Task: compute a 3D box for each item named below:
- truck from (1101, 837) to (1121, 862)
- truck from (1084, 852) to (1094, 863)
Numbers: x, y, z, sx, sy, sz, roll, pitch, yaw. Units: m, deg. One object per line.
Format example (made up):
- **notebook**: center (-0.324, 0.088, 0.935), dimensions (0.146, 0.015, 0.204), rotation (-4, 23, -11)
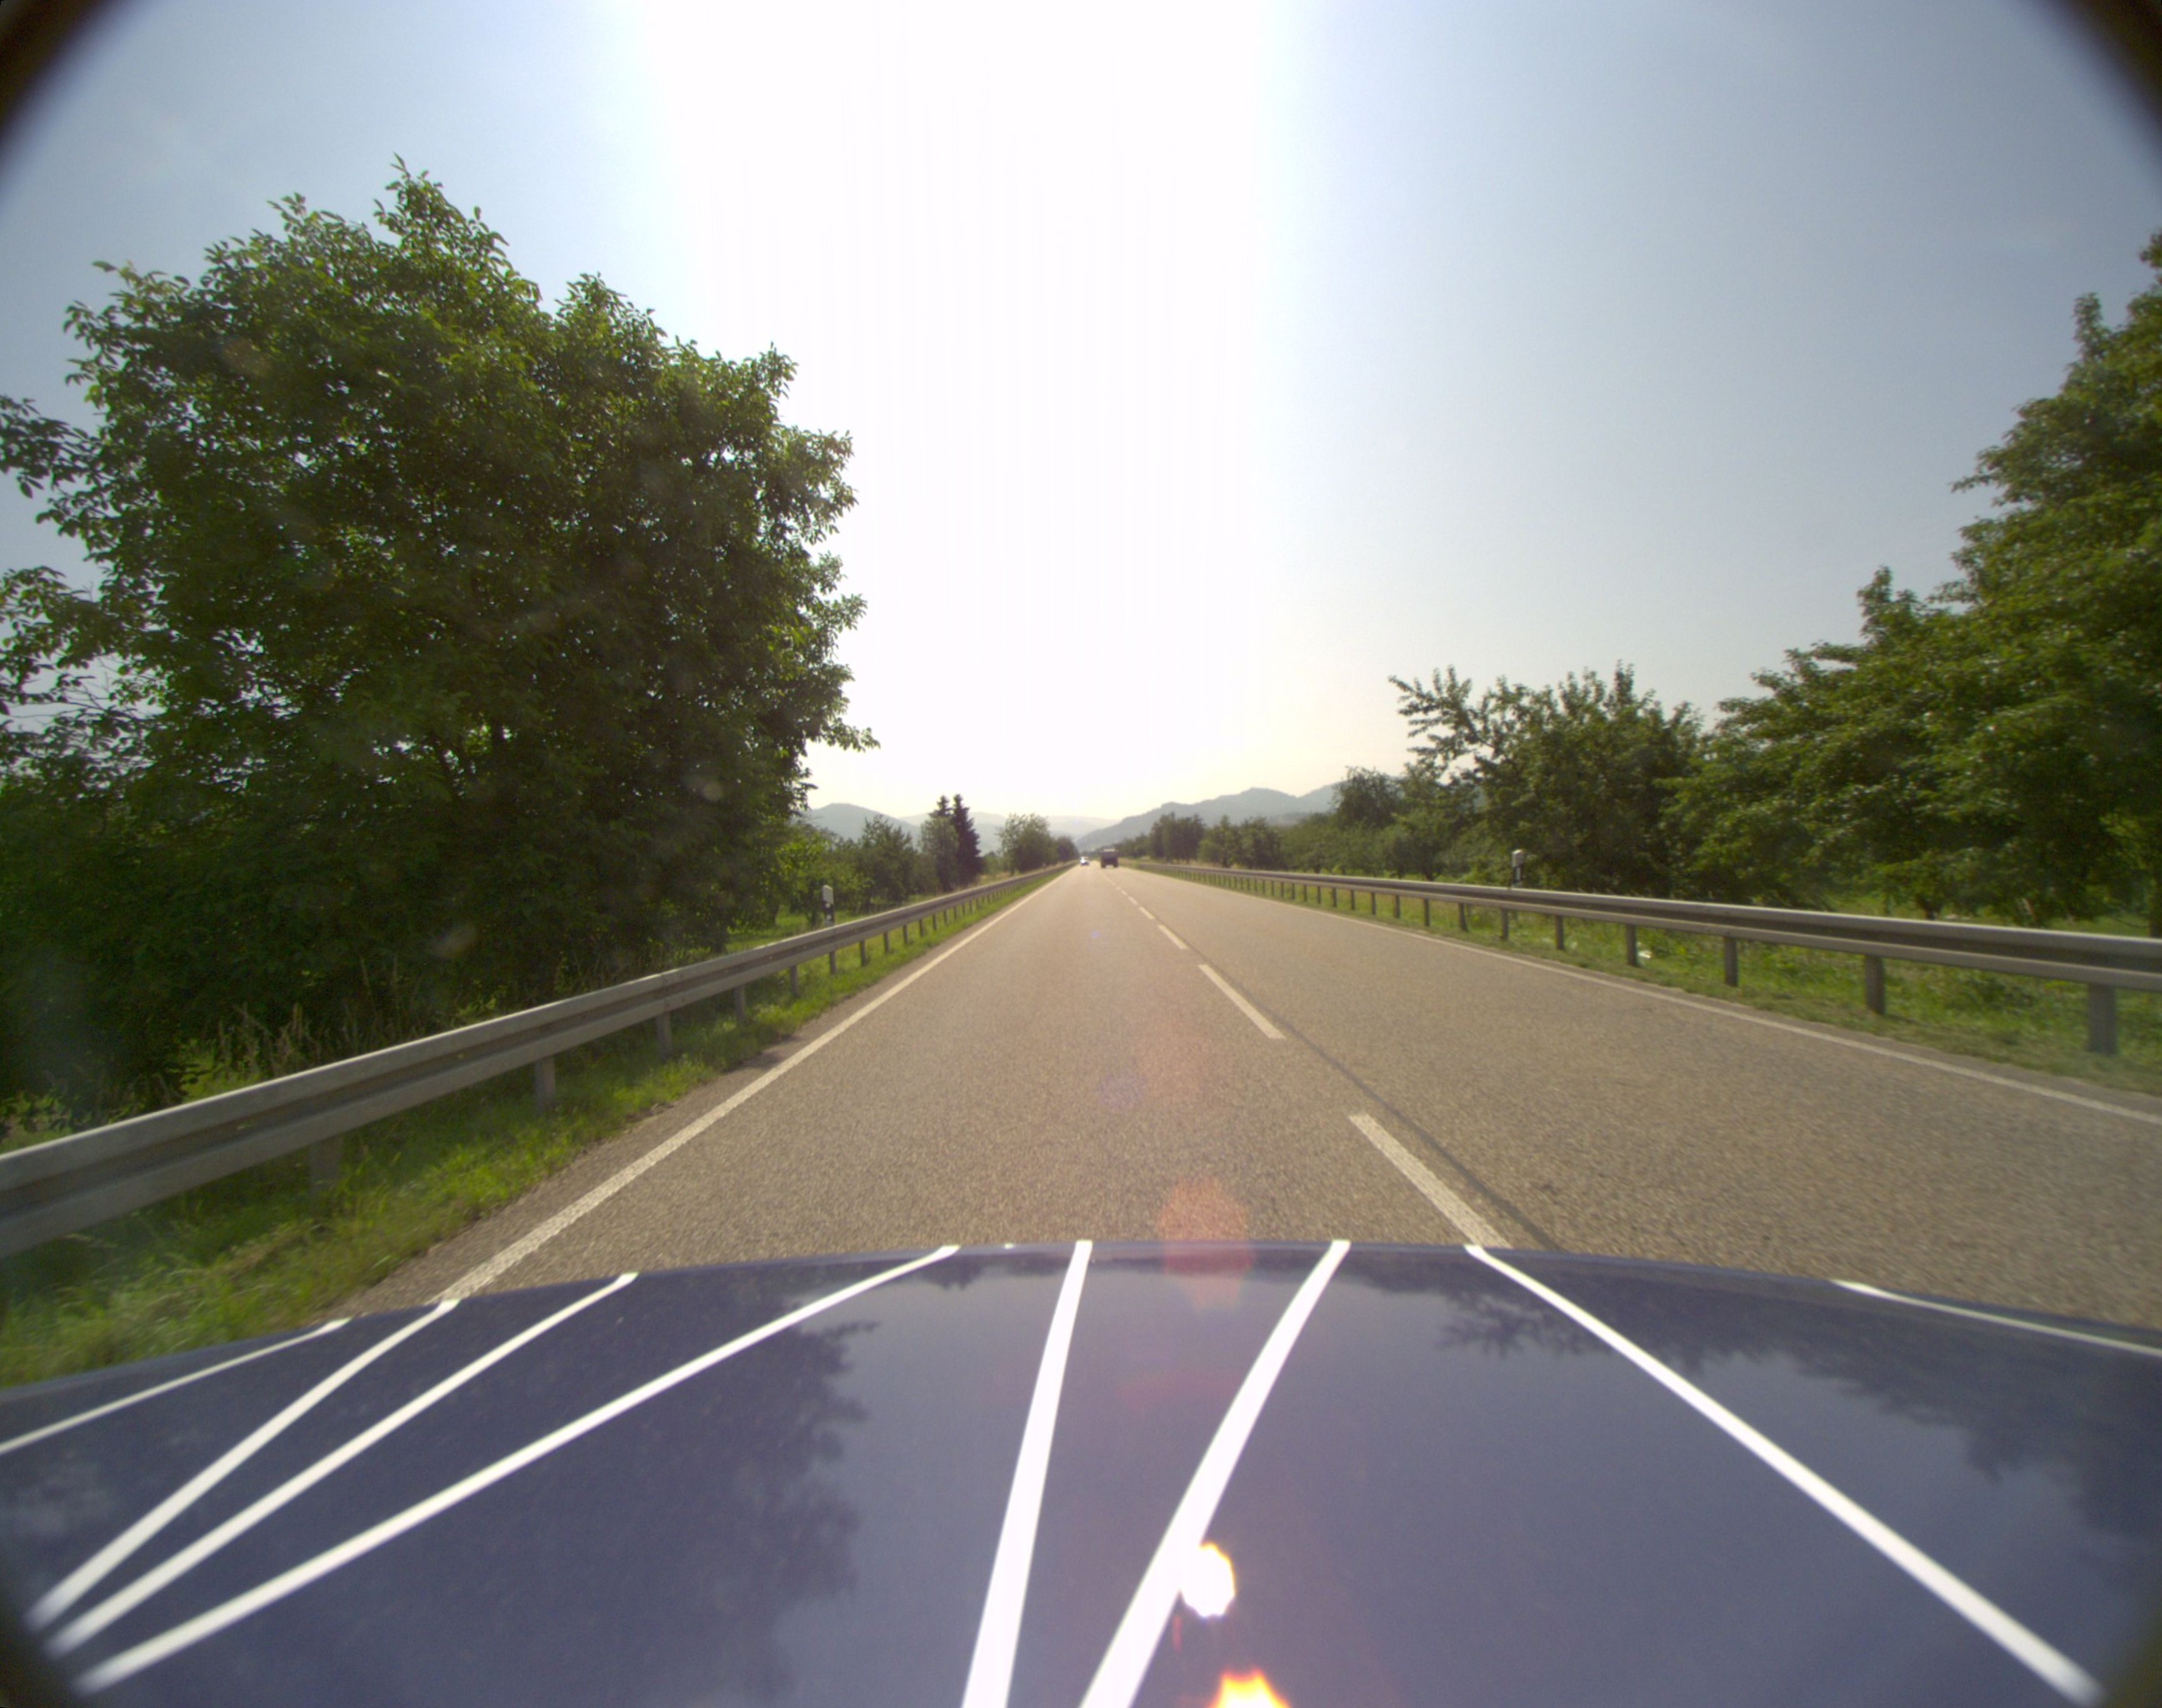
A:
- **truck**: center (4.703, -0.794, 119.653), dimensions (2.735, 3.651, 9.382), rotation (-3, 1, 0)
- **truck**: center (1.824, 0.779, 168.147), dimensions (2.031, 2.232, 4.765), rotation (-3, 1, 2)
